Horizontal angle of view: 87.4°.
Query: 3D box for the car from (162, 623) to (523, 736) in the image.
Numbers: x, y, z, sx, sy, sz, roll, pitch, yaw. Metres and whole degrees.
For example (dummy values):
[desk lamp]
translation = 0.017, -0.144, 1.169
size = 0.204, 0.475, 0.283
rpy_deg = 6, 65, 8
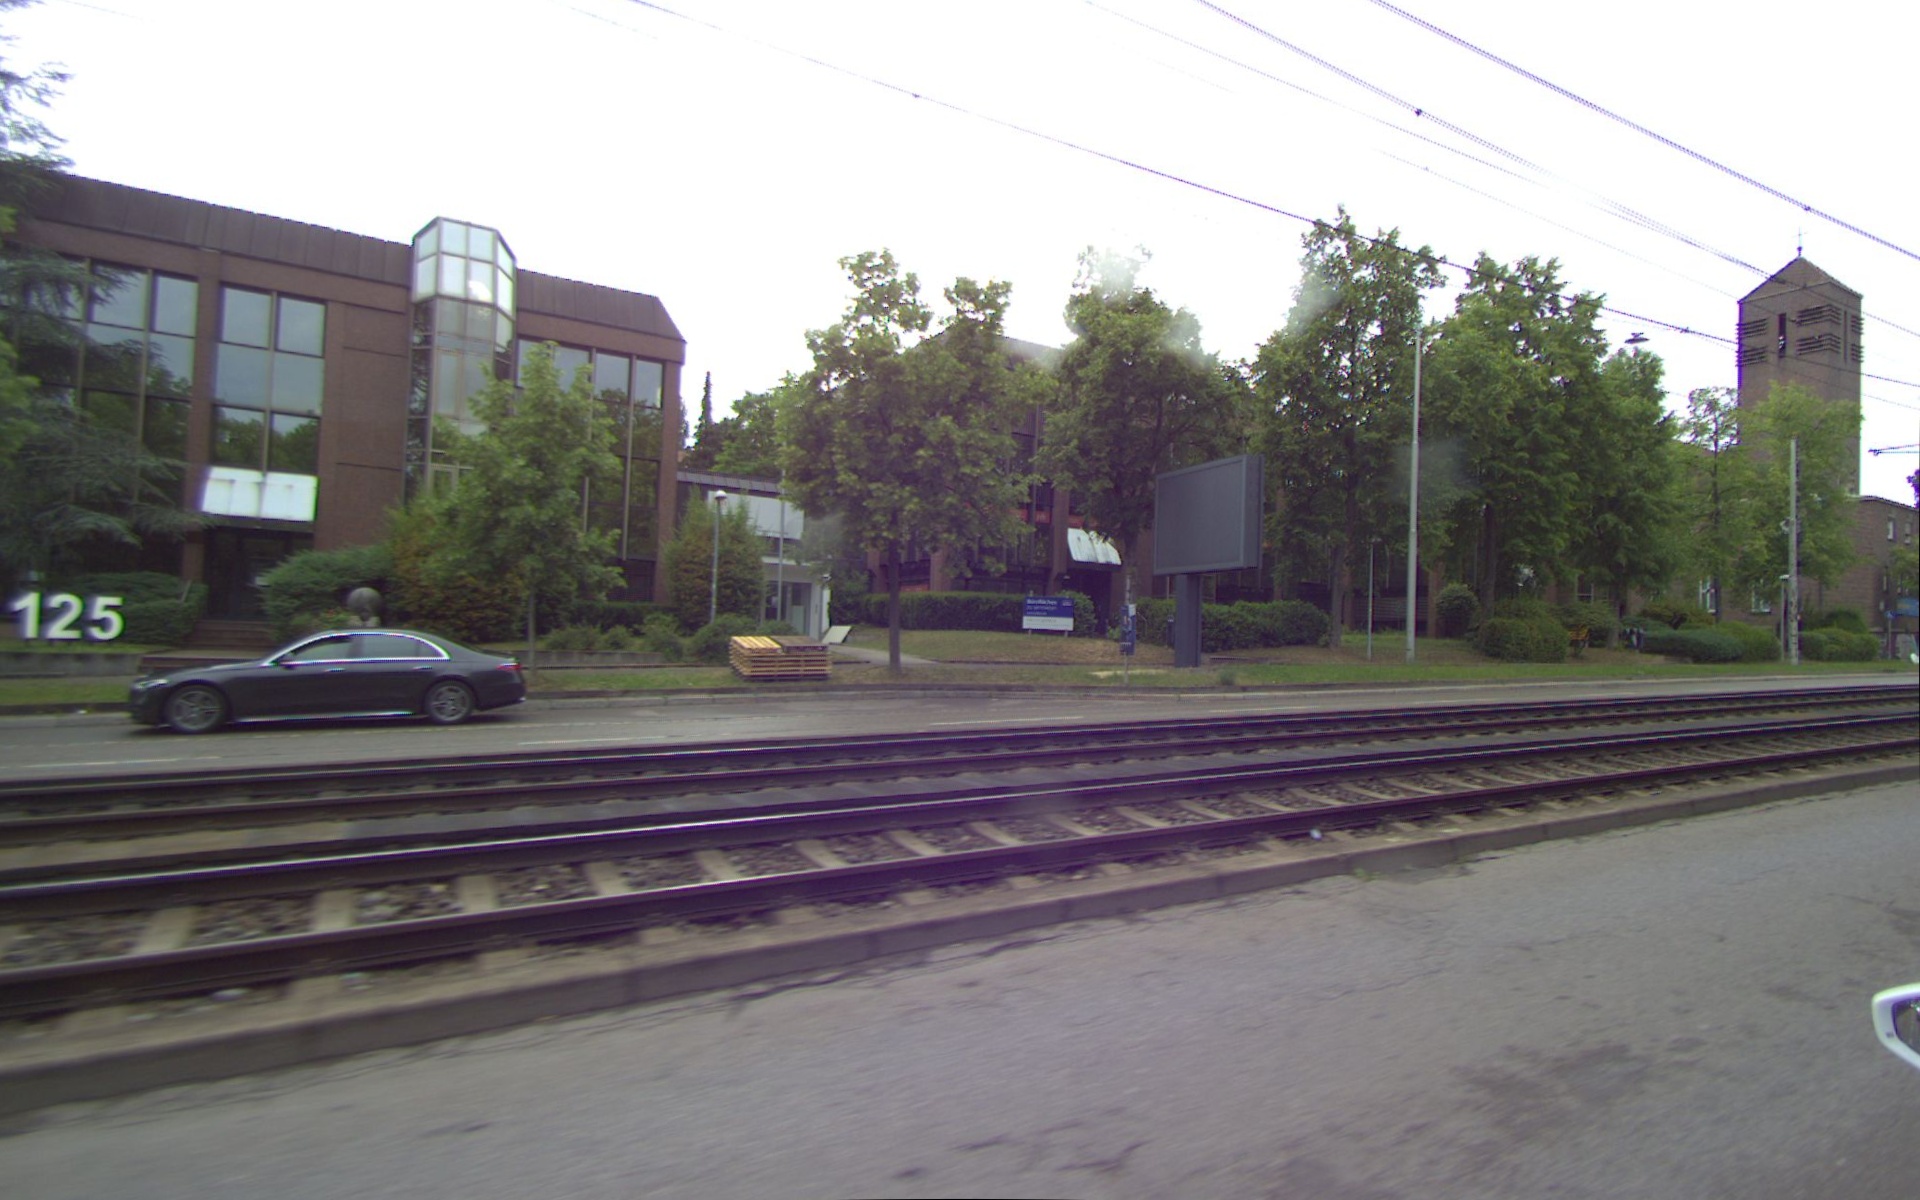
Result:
[car]
translation = -9.459, 1.157, 15.776
size = 4.570, 1.550, 1.785
rpy_deg = 1, -1, -32
